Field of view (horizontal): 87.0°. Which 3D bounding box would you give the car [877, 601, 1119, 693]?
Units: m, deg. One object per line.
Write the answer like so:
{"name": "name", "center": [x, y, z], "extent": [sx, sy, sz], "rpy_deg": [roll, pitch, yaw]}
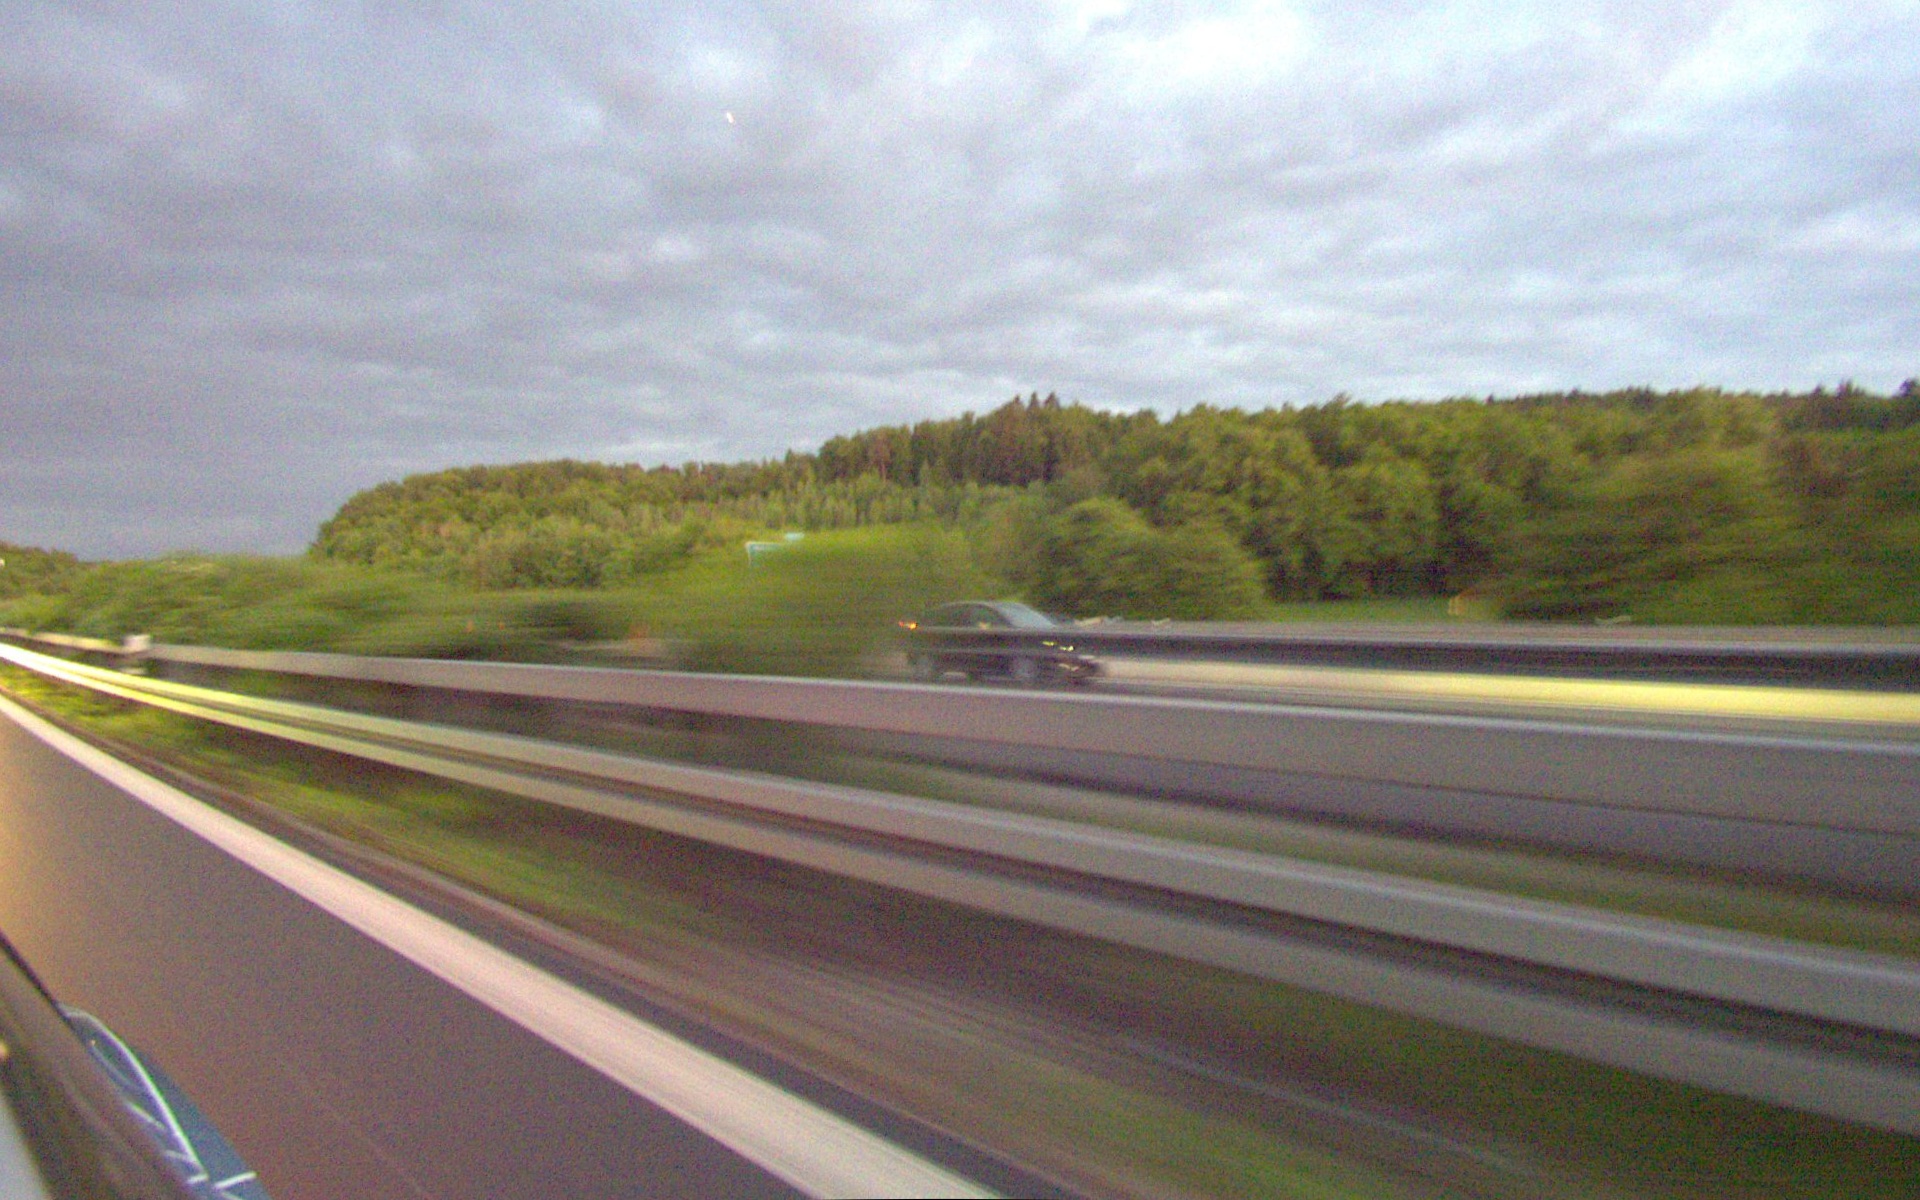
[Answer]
{"name": "car", "center": [0.628, 0.818, 19.432], "extent": [4.518, 1.573, 1.852], "rpy_deg": [0, -1, 41]}

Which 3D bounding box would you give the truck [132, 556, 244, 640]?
{"name": "truck", "center": [-43.244, -0.074, 56.547], "extent": [9.885, 4.334, 3.007], "rpy_deg": [0, -1, 41]}
